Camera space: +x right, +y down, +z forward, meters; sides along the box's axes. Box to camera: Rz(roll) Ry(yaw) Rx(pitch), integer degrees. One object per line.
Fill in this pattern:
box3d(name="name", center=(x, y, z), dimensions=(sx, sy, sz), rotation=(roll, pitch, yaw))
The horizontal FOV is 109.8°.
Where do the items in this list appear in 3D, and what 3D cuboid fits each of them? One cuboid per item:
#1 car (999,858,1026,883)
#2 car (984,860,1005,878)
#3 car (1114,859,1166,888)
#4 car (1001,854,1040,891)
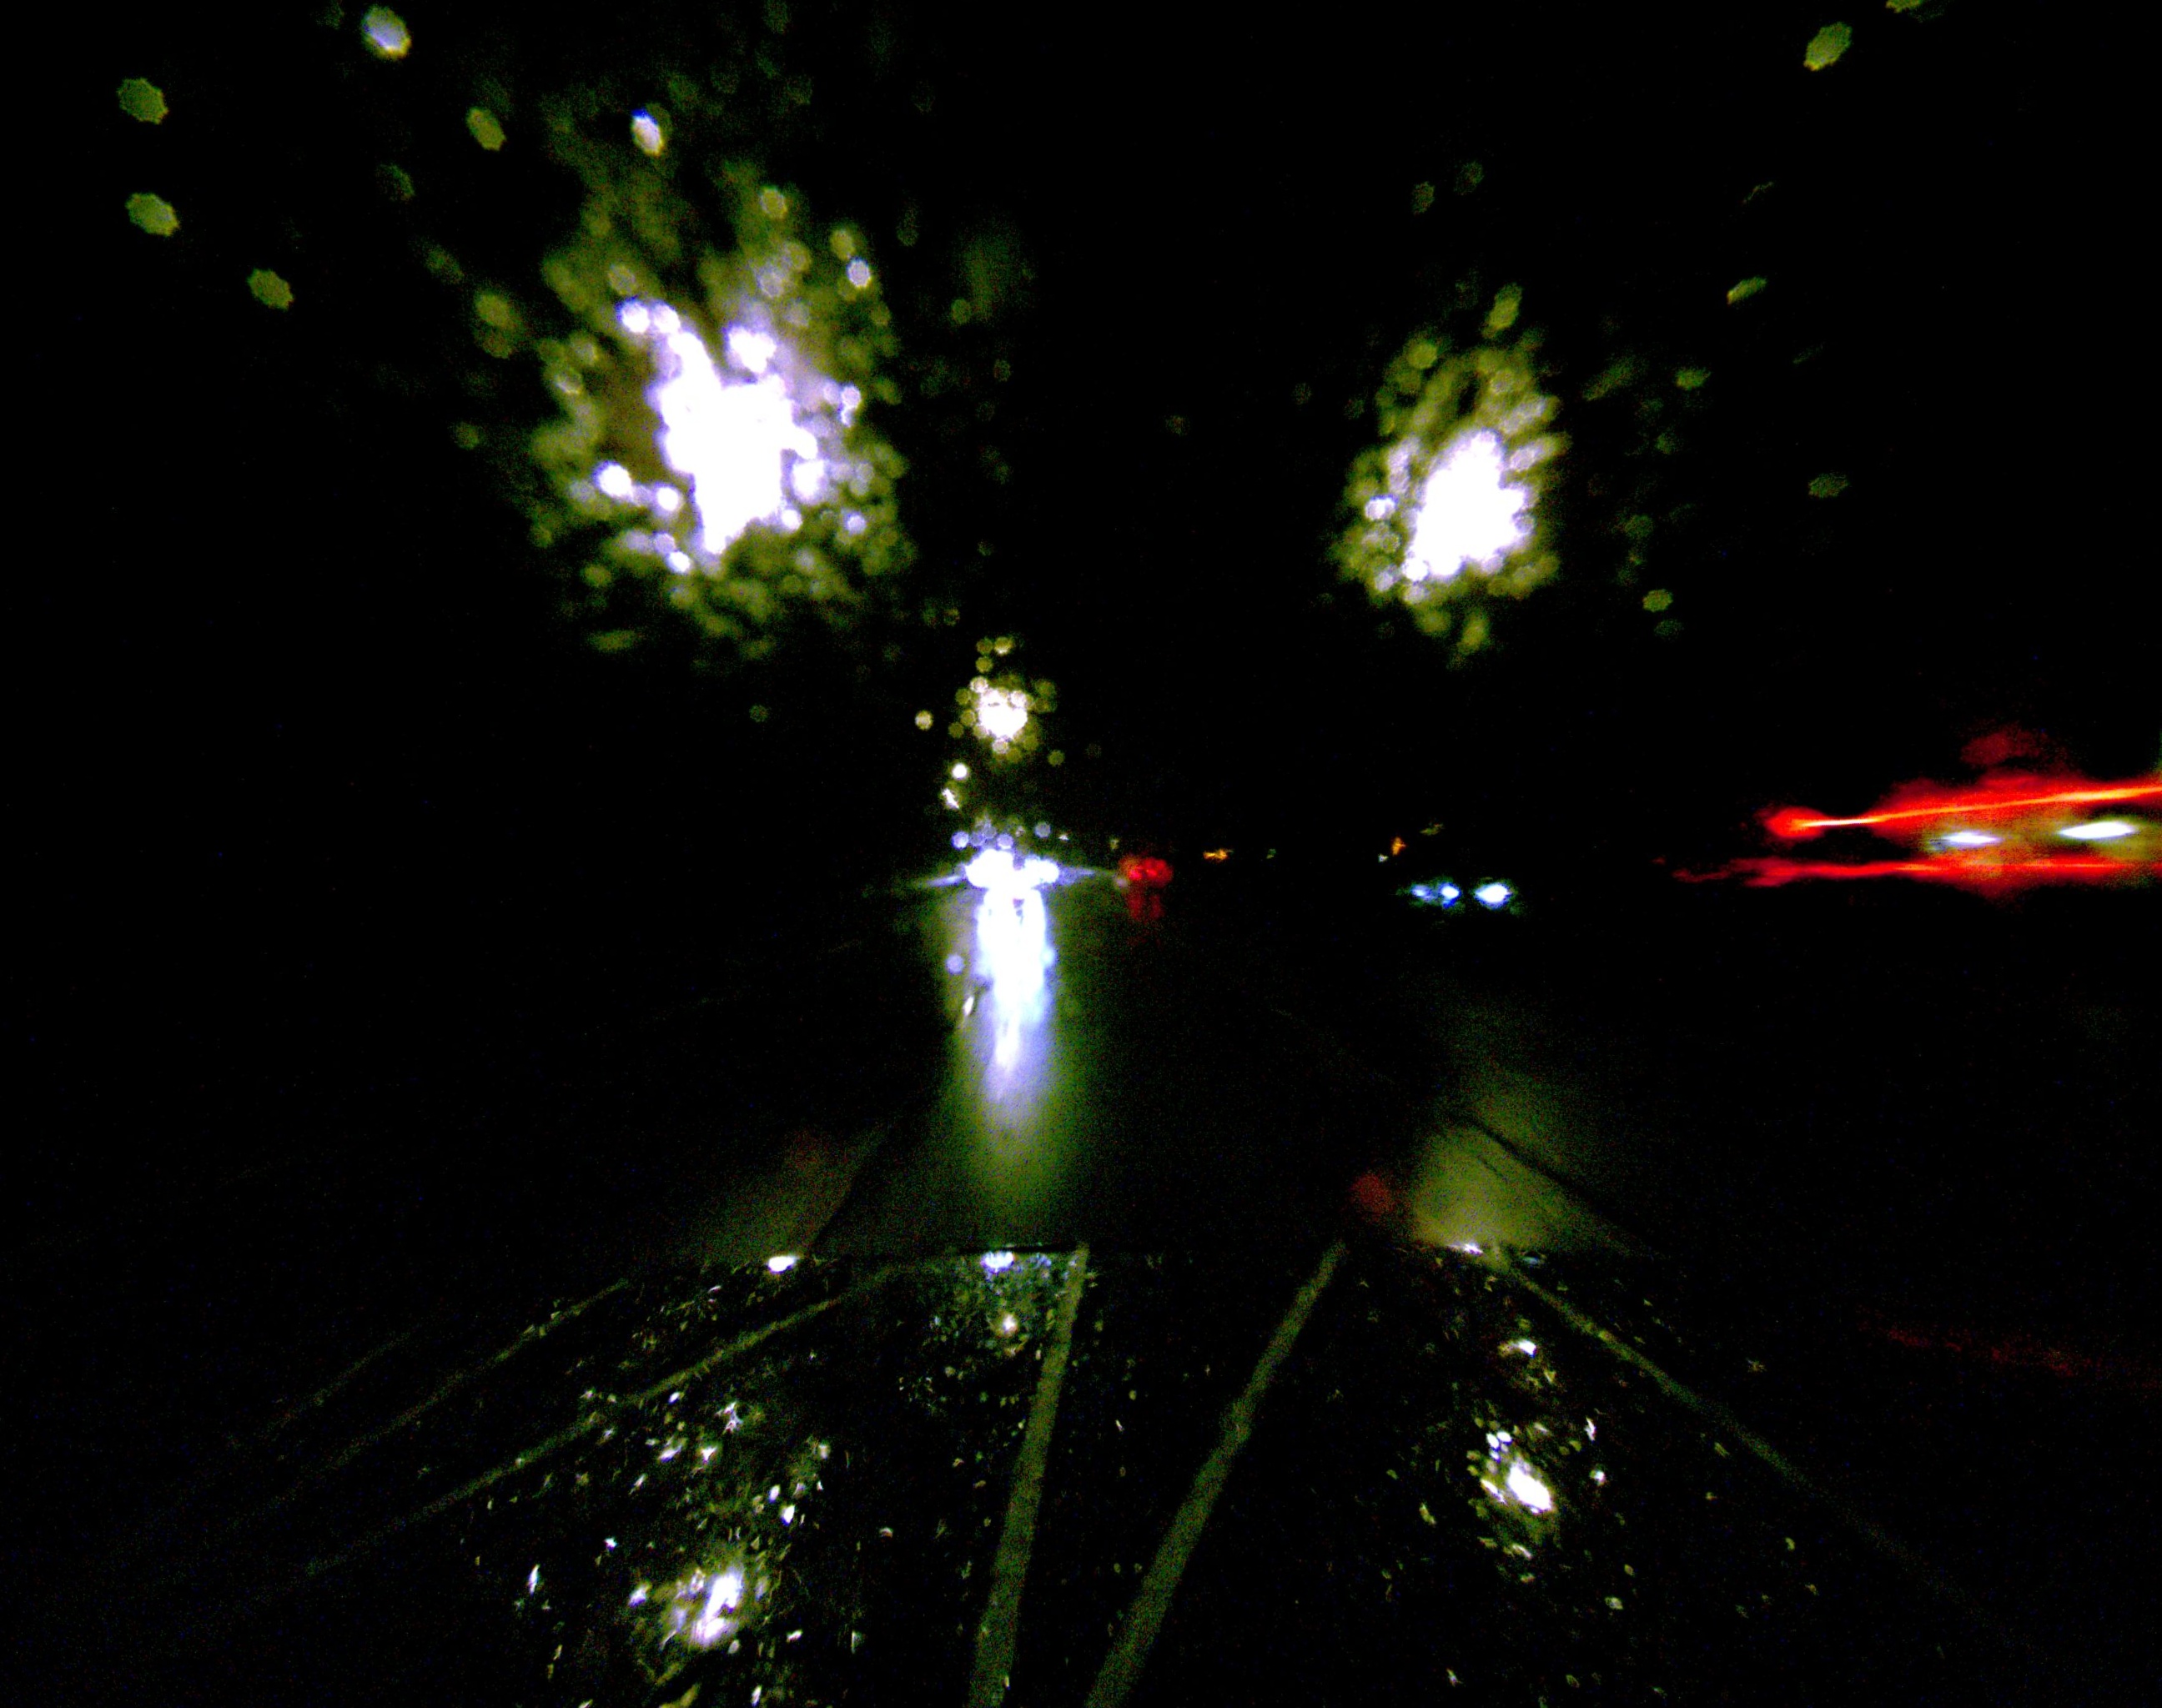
box3d(name="car", center=(-5.818, 1.406, 64.130), dimensions=(2.000, 1.922, 3.998), rotation=(2, -2, -8))
box3d(name="car", center=(-9.897, 1.668, 86.498), dimensions=(2.001, 1.922, 3.997), rotation=(2, -2, -11))
box3d(name="car", center=(3.138, 1.026, 41.247), dimensions=(1.832, 1.495, 4.184), rotation=(0, 0, -9))
box3d(name="car", center=(-3.226, 0.980, 41.214), dimensions=(1.937, 1.861, 3.999), rotation=(0, -1, -3))
